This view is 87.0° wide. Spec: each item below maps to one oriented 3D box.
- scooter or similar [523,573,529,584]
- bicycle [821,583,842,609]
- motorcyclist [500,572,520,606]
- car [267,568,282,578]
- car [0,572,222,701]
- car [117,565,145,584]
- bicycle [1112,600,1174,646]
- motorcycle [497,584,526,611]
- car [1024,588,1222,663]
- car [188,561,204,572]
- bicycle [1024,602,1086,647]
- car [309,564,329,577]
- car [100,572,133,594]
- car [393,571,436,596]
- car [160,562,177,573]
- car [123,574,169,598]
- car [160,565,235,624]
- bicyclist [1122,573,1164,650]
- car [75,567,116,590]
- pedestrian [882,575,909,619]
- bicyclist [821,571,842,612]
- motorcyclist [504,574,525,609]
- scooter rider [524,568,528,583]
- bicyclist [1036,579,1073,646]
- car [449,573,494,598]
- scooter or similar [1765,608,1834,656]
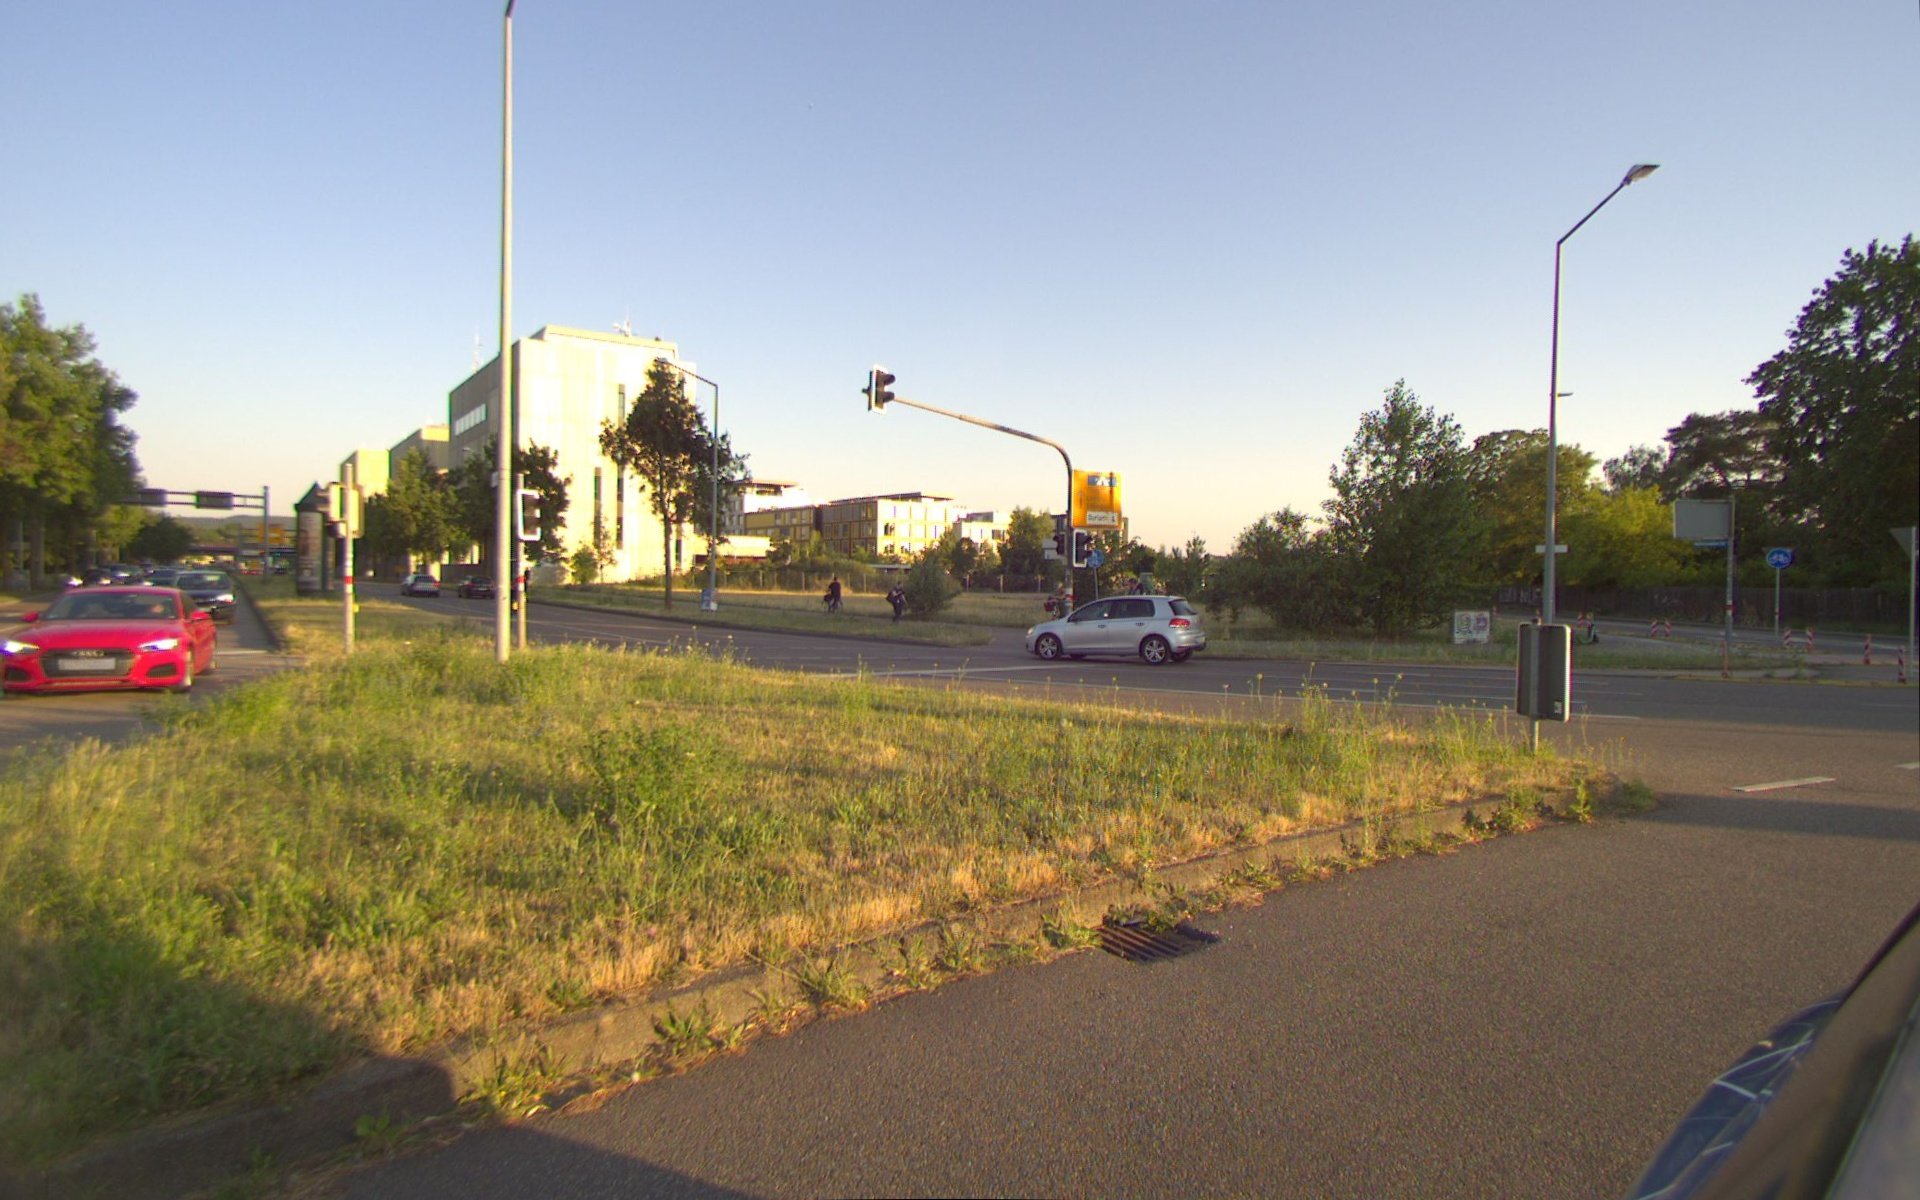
[{"bbox_3d":[-38.208,-1.880,89.105,0.242,0.925,1.039,1,1,-37],"label":"scooter or similar"},{"bbox_3d":[-5.611,-0.168,44.174,0.275,1.102,1.372,1,1,-37],"label":"bicycle"},{"bbox_3d":[-19.161,-0.465,43.072,0.625,1.434,0.714,0,1,-40],"label":"motorcyclist"},{"bbox_3d":[-105.957,-4.160,156.422,1.785,1.544,4.133,1,1,-37],"label":"car"},{"bbox_3d":[-11.588,0.392,14.034,1.809,1.479,4.585,1,0,-32],"label":"car"},{"bbox_3d":[-70.342,-2.171,85.887,1.589,1.537,3.716,-1,2,-36],"label":"car"},{"bbox_3d":[4.741,0.573,26.176,1.894,1.098,0.456,-2,2,-40],"label":"bicycle"},{"bbox_3d":[-19.029,-0.125,42.912,0.548,1.114,2.158,0,1,-39],"label":"motorcycle"},{"bbox_3d":[3.650,0.503,22.860,4.020,1.499,1.871,1,1,32],"label":"car"},{"bbox_3d":[-96.535,-4.230,127.894,1.589,1.471,3.716,-1,2,-36],"label":"car"},{"bbox_3d":[2.559,0.642,27.213,1.894,1.098,0.456,-3,3,-40],"label":"bicycle"},{"bbox_3d":[-74.127,-3.392,117.063,1.716,1.442,4.140,1,1,-29],"label":"car"},{"bbox_3d":[-60.543,-1.233,72.678,1.589,1.537,3.716,-1,2,-36],"label":"car"},{"bbox_3d":[-34.611,-1.079,64.147,1.770,1.440,4.447,1,1,-37],"label":"car"},{"bbox_3d":[-103.246,-4.251,132.010,1.589,1.471,3.716,-1,2,-36],"label":"car"},{"bbox_3d":[-47.117,-0.839,58.630,1.841,1.325,4.137,-1,2,-36],"label":"car"},{"bbox_3d":[-22.841,-0.202,30.351,1.690,1.633,4.134,-1,1,-37],"label":"car"},{"bbox_3d":[4.734,0.280,26.169,0.894,1.921,0.640,-2,2,-40],"label":"bicyclist"},{"bbox_3d":[-51.992,-1.304,60.910,1.589,1.325,3.716,-1,2,-36],"label":"car"},{"bbox_3d":[-2.347,-0.119,36.897,0.782,1.569,0.567,0,1,-37],"label":"pedestrian"},{"bbox_3d":[-5.634,-0.383,44.209,0.527,1.765,0.843,1,1,-38],"label":"bicyclist"},{"bbox_3d":[-18.739,-0.366,42.564,0.625,1.426,0.593,0,1,-40],"label":"motorcyclist"},{"bbox_3d":[-38.200,-2.156,89.068,0.260,1.356,0.406,1,1,-37],"label":"scooter rider"},{"bbox_3d":[2.545,0.319,27.209,0.757,1.722,0.640,-3,3,-40],"label":"bicyclist"},{"bbox_3d":[-31.323,-0.971,64.833,1.770,1.482,3.998,1,1,-37],"label":"car"},{"bbox_3d":[21.214,0.804,25.587,1.356,1.177,0.442,1,1,-2],"label":"scooter or similar"}]
